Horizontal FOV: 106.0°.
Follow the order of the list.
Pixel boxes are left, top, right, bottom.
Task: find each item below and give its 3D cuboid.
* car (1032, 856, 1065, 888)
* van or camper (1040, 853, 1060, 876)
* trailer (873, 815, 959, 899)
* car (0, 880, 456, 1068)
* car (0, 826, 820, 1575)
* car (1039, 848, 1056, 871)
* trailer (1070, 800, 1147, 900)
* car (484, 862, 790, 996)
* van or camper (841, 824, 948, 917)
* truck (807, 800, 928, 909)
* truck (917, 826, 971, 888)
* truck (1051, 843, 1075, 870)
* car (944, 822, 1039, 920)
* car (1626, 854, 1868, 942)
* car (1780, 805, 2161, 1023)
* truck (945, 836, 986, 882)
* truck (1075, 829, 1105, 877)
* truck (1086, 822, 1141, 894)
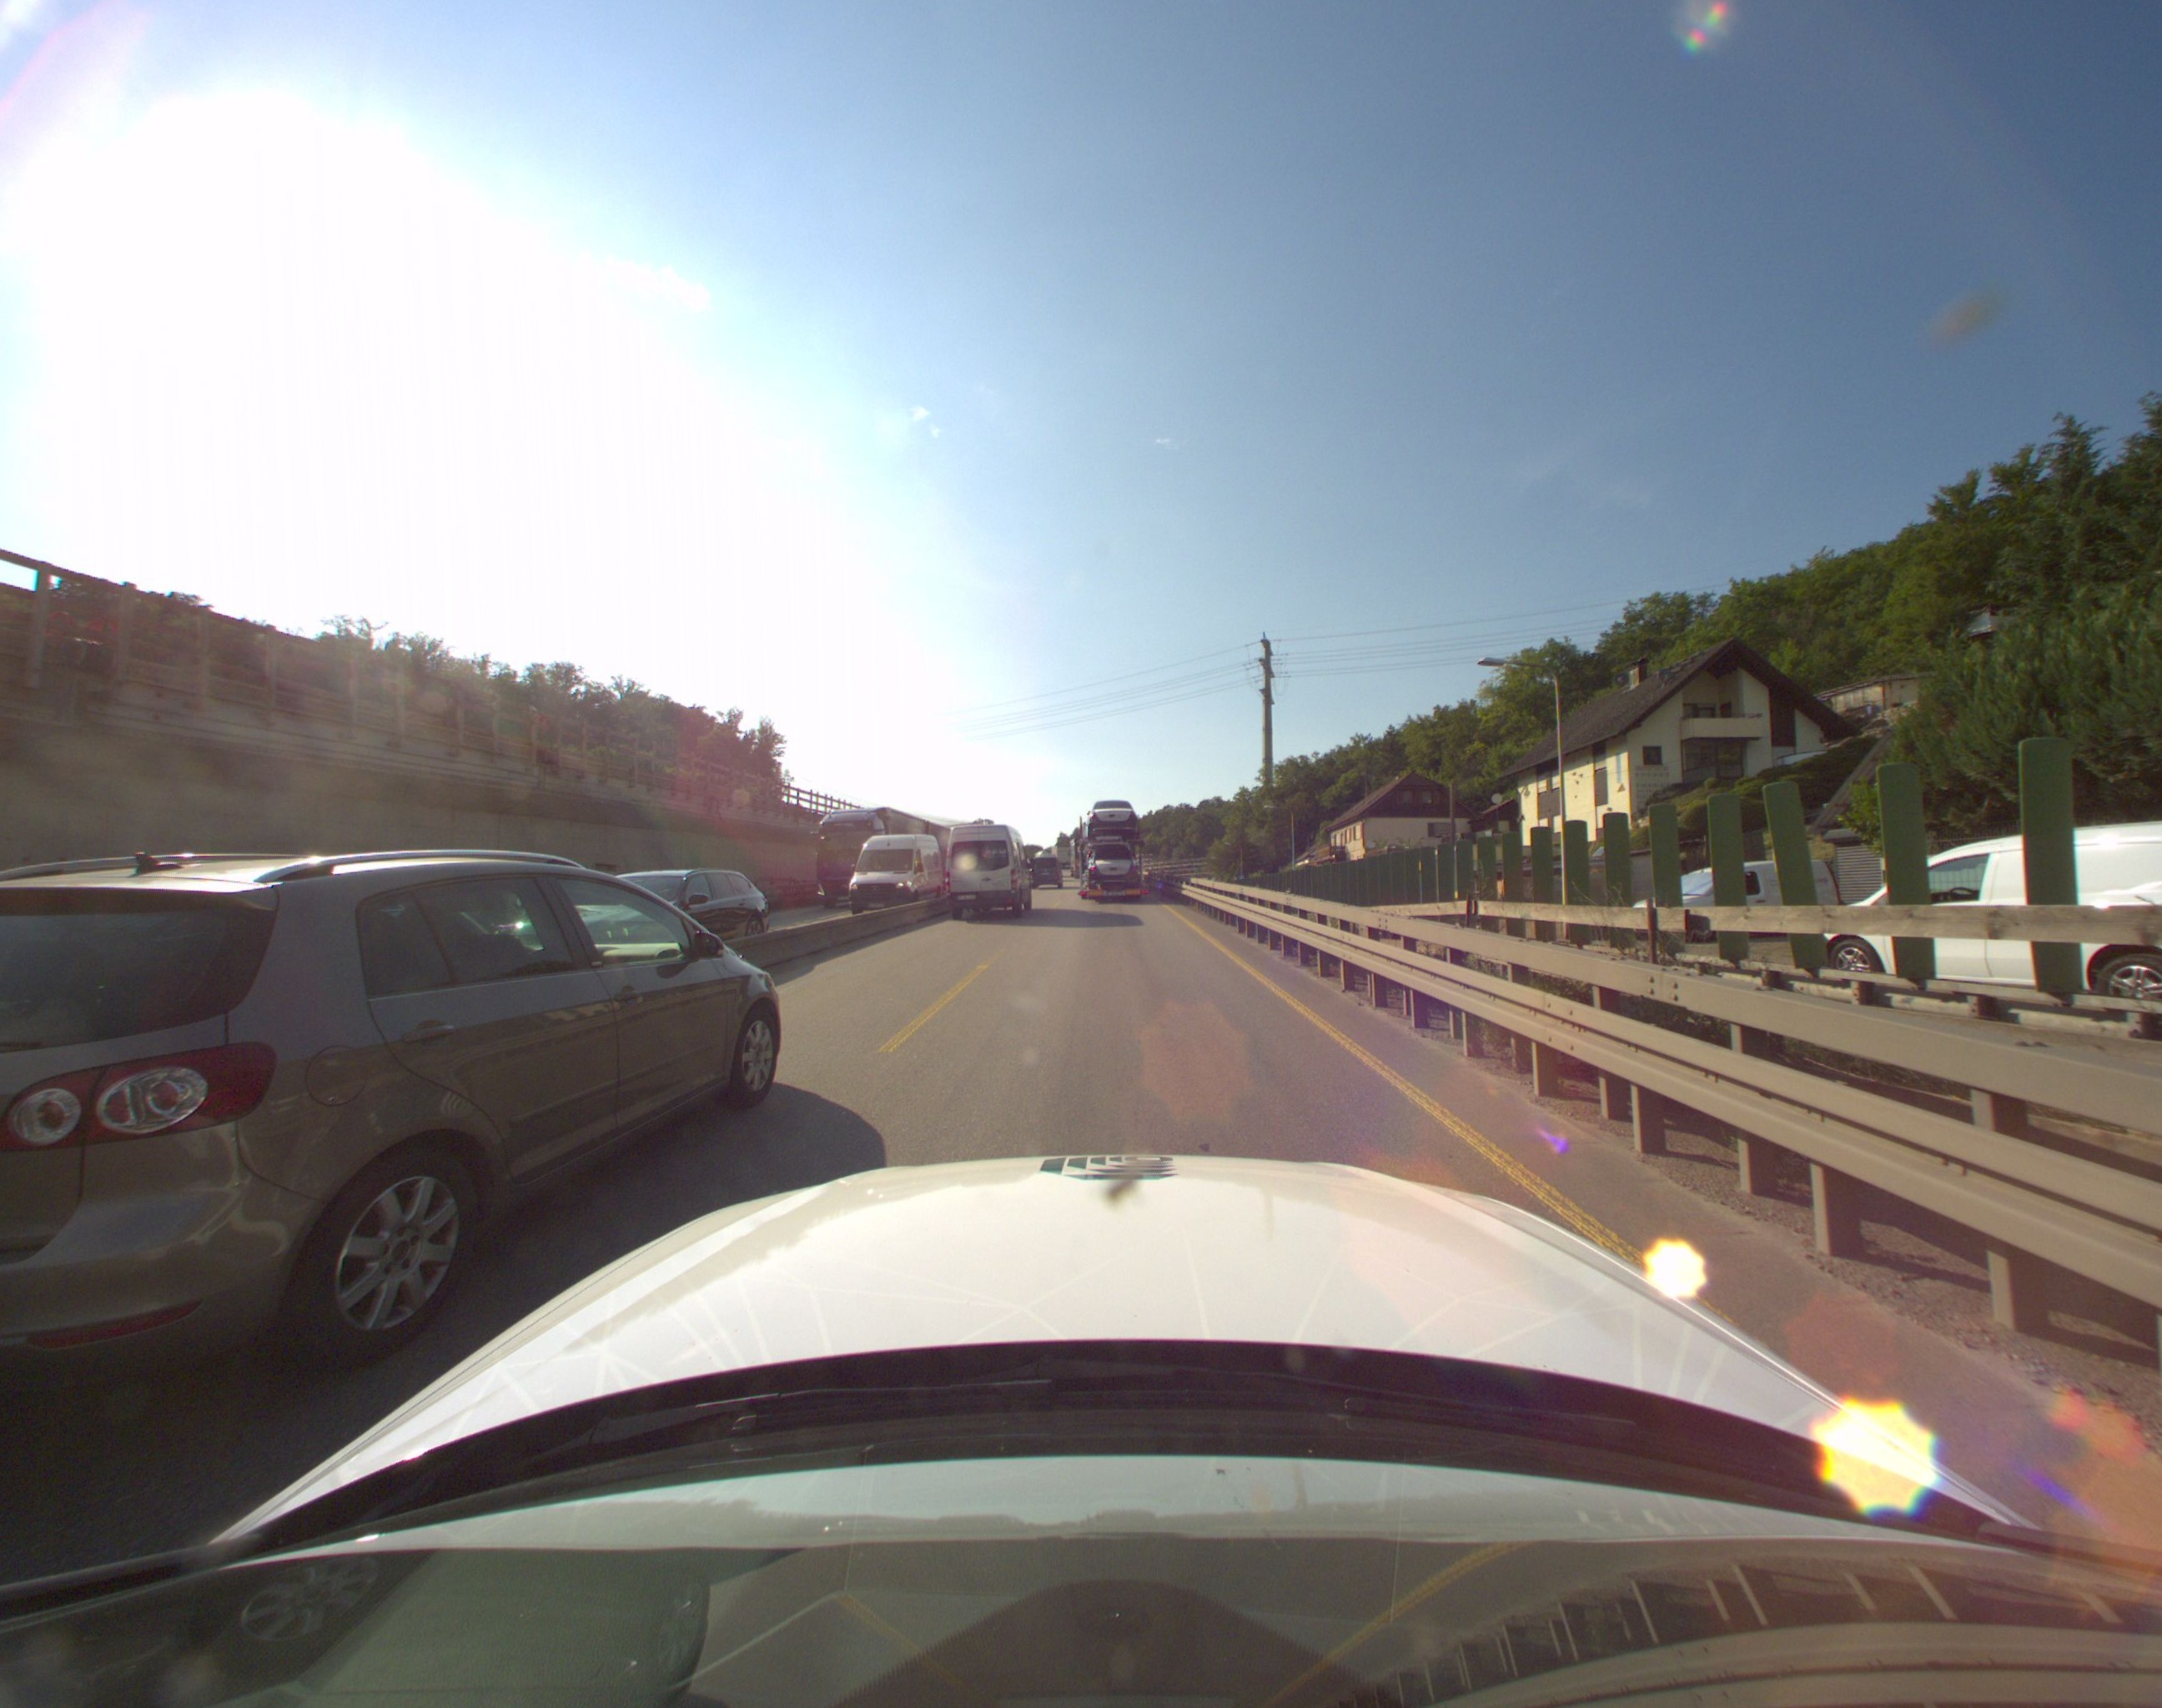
[{"bbox_3d":[-1.996,1.159,51.413,1.802,1.904,4.000,1,-2,1],"label":"car"},{"bbox_3d":[-3.521,1.240,93.094,1.962,2.592,5.040,2,-2,0],"label":"van or camper"},{"bbox_3d":[-9.052,0.188,45.826,2.597,4.112,9.627,-2,0,1],"label":"trailer"},{"bbox_3d":[-9.642,1.075,8.750,1.965,1.421,4.900,-2,-1,1],"label":"car"},{"bbox_3d":[-2.858,0.756,3.885,1.674,1.588,4.274,-1,0,2],"label":"car"},{"bbox_3d":[-7.686,1.351,187.748,3.435,5.035,9.646,1,-1,-1],"label":"car"},{"bbox_3d":[1.399,0.071,36.725,2.671,3.535,15.298,1,-2,3],"label":"trailer"},{"bbox_3d":[-6.310,0.989,12.425,1.830,1.594,4.869,1,-2,1],"label":"car"},{"bbox_3d":[-6.062,0.541,27.322,1.986,2.706,5.958,-2,-1,1],"label":"van or camper"},{"bbox_3d":[-9.150,0.090,36.206,2.615,4.113,9.626,-2,-1,0],"label":"truck"},{"bbox_3d":[-9.623,0.317,57.850,2.701,4.093,6.201,2,-2,0],"label":"truck"},{"bbox_3d":[-3.202,0.491,144.515,4.054,4.680,10.583,1,-1,-2],"label":"truck"},{"bbox_3d":[-2.548,0.490,24.628,1.985,2.648,5.534,0,-1,3],"label":"car"},{"bbox_3d":[15.811,1.049,19.515,4.115,1.737,1.852,-4,-3,2],"label":"car"},{"bbox_3d":[10.252,0.589,8.704,1.800,1.871,4.441,0,-2,2],"label":"car"},{"bbox_3d":[-11.192,0.534,79.639,2.974,4.154,7.389,1,-1,-1],"label":"truck"},{"bbox_3d":[0.836,-0.016,82.831,2.898,4.607,7.284,1,-1,0],"label":"truck"},{"bbox_3d":[1.805,0.306,44.275,2.671,3.535,7.198,1,-2,3],"label":"truck"}]
